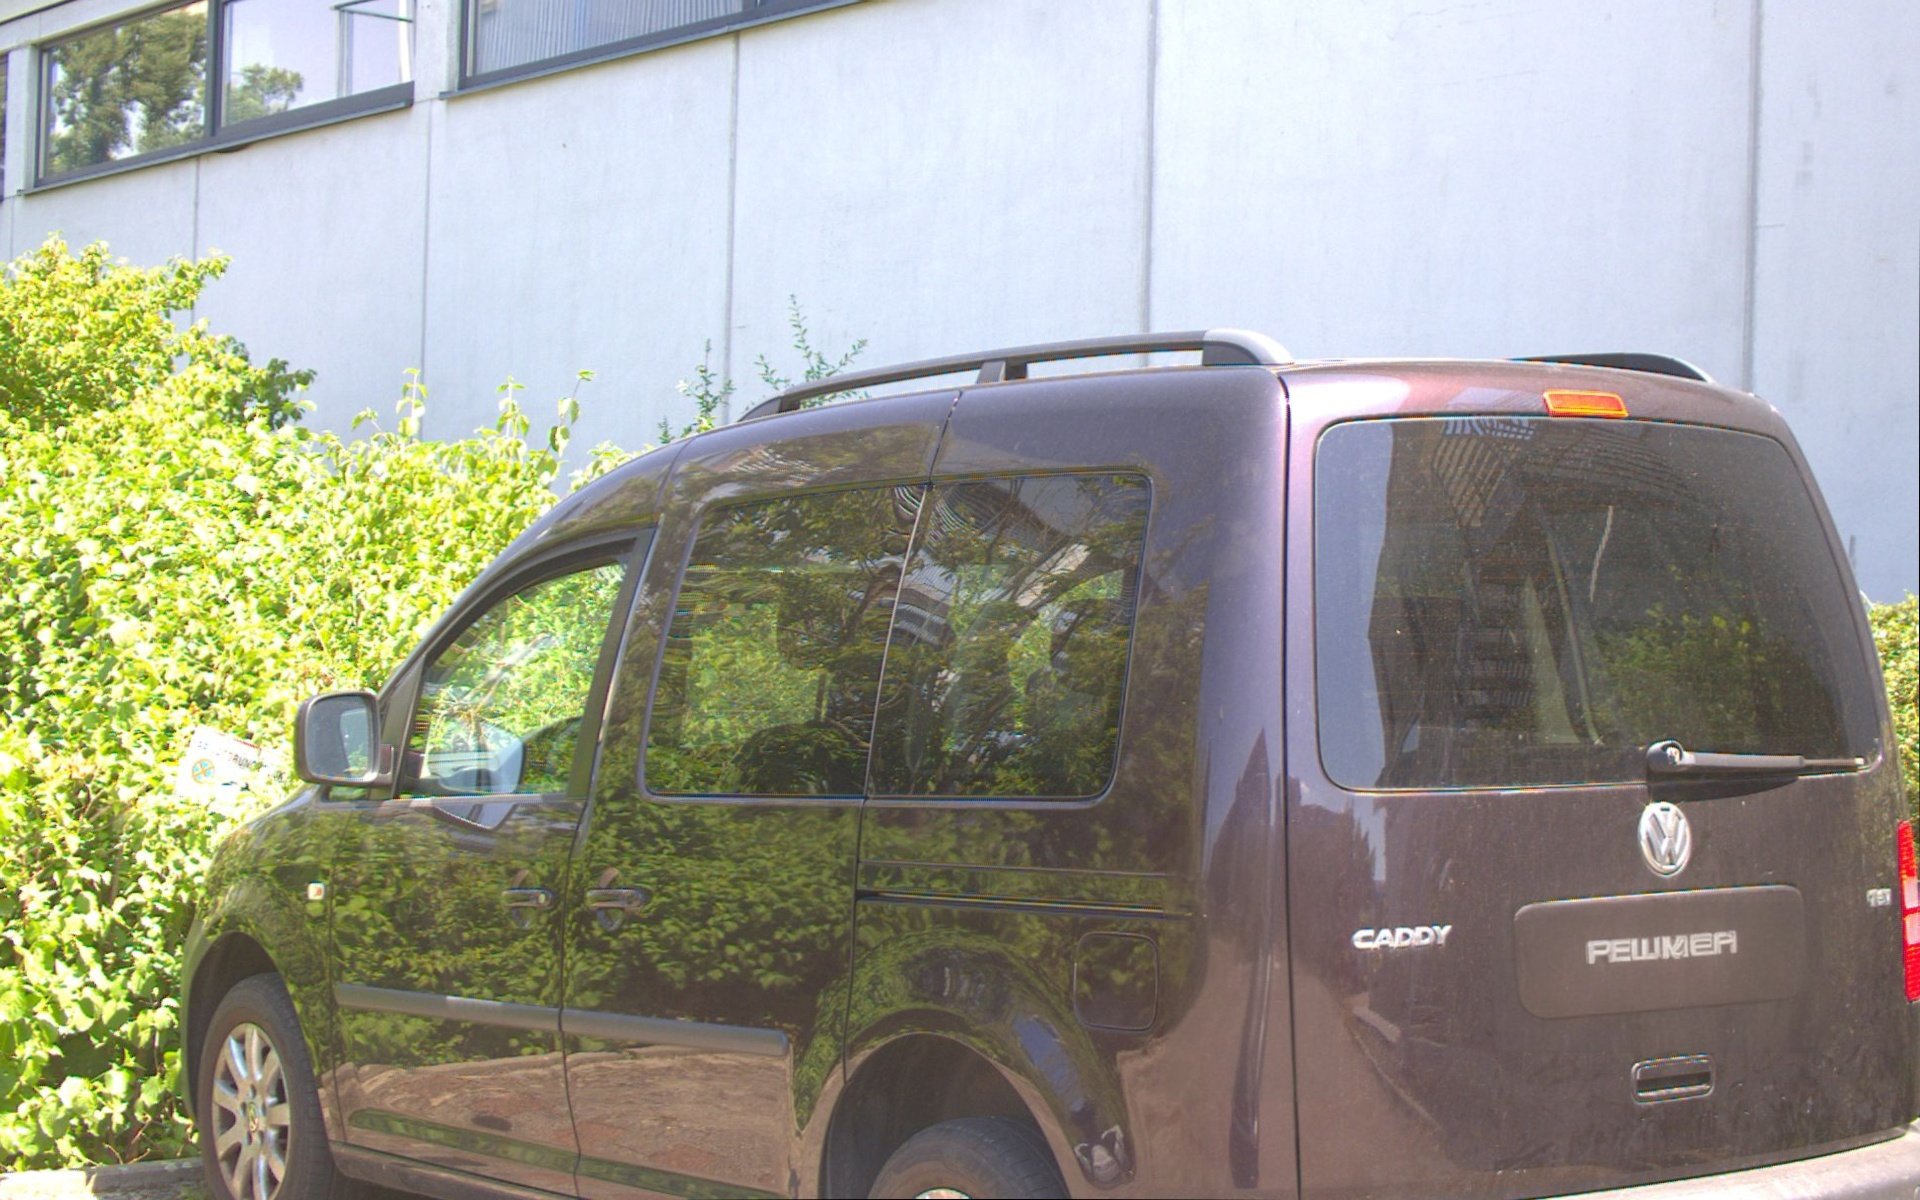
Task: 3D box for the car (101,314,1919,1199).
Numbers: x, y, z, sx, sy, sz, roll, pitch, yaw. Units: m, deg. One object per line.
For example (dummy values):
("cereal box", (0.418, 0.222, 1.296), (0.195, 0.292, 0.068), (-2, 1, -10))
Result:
("car", (-0.055, 0.514, 6.753), (1.743, 1.831, 3.999), (0, 0, -37))
